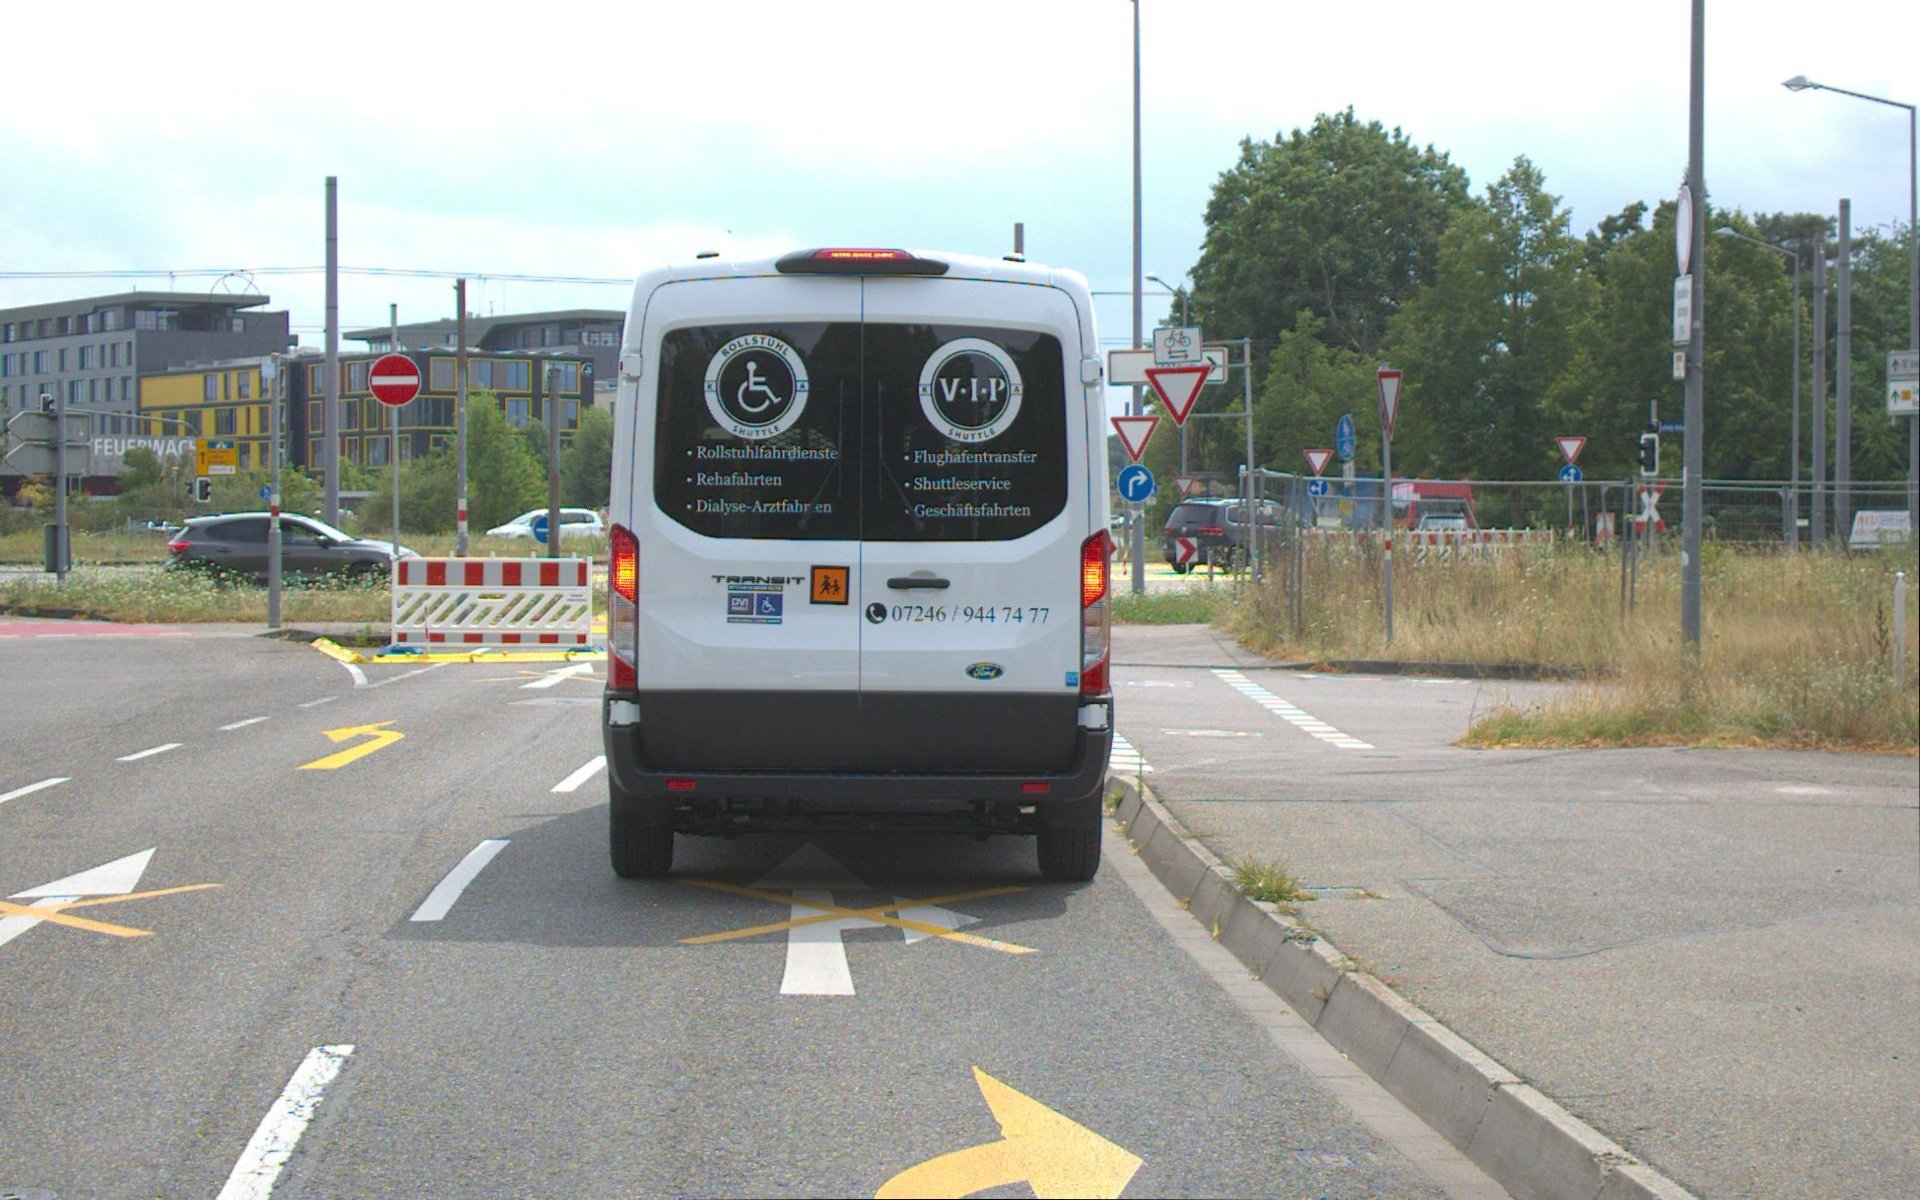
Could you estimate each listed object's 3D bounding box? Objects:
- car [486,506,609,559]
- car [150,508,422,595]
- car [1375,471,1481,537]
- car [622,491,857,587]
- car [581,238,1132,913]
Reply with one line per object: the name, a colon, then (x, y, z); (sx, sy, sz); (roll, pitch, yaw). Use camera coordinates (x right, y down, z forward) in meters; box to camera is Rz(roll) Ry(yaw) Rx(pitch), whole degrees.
car: (-14.836, -2.424, 123.641); (3.988, 1.765, 1.768); (-3, 3, -35)
car: (-11.548, -0.848, 59.113); (4.341, 1.349, 1.622); (-1, 2, -2)
car: (13.462, -2.794, 99.097); (2.006, 1.810, 4.413); (-2, 2, -6)
car: (-4.148, -1.171, 64.684); (3.986, 1.656, 1.891); (-2, 2, -22)
car: (-0.426, -0.152, 14.900); (2.062, 2.531, 4.001); (0, 2, -1)
